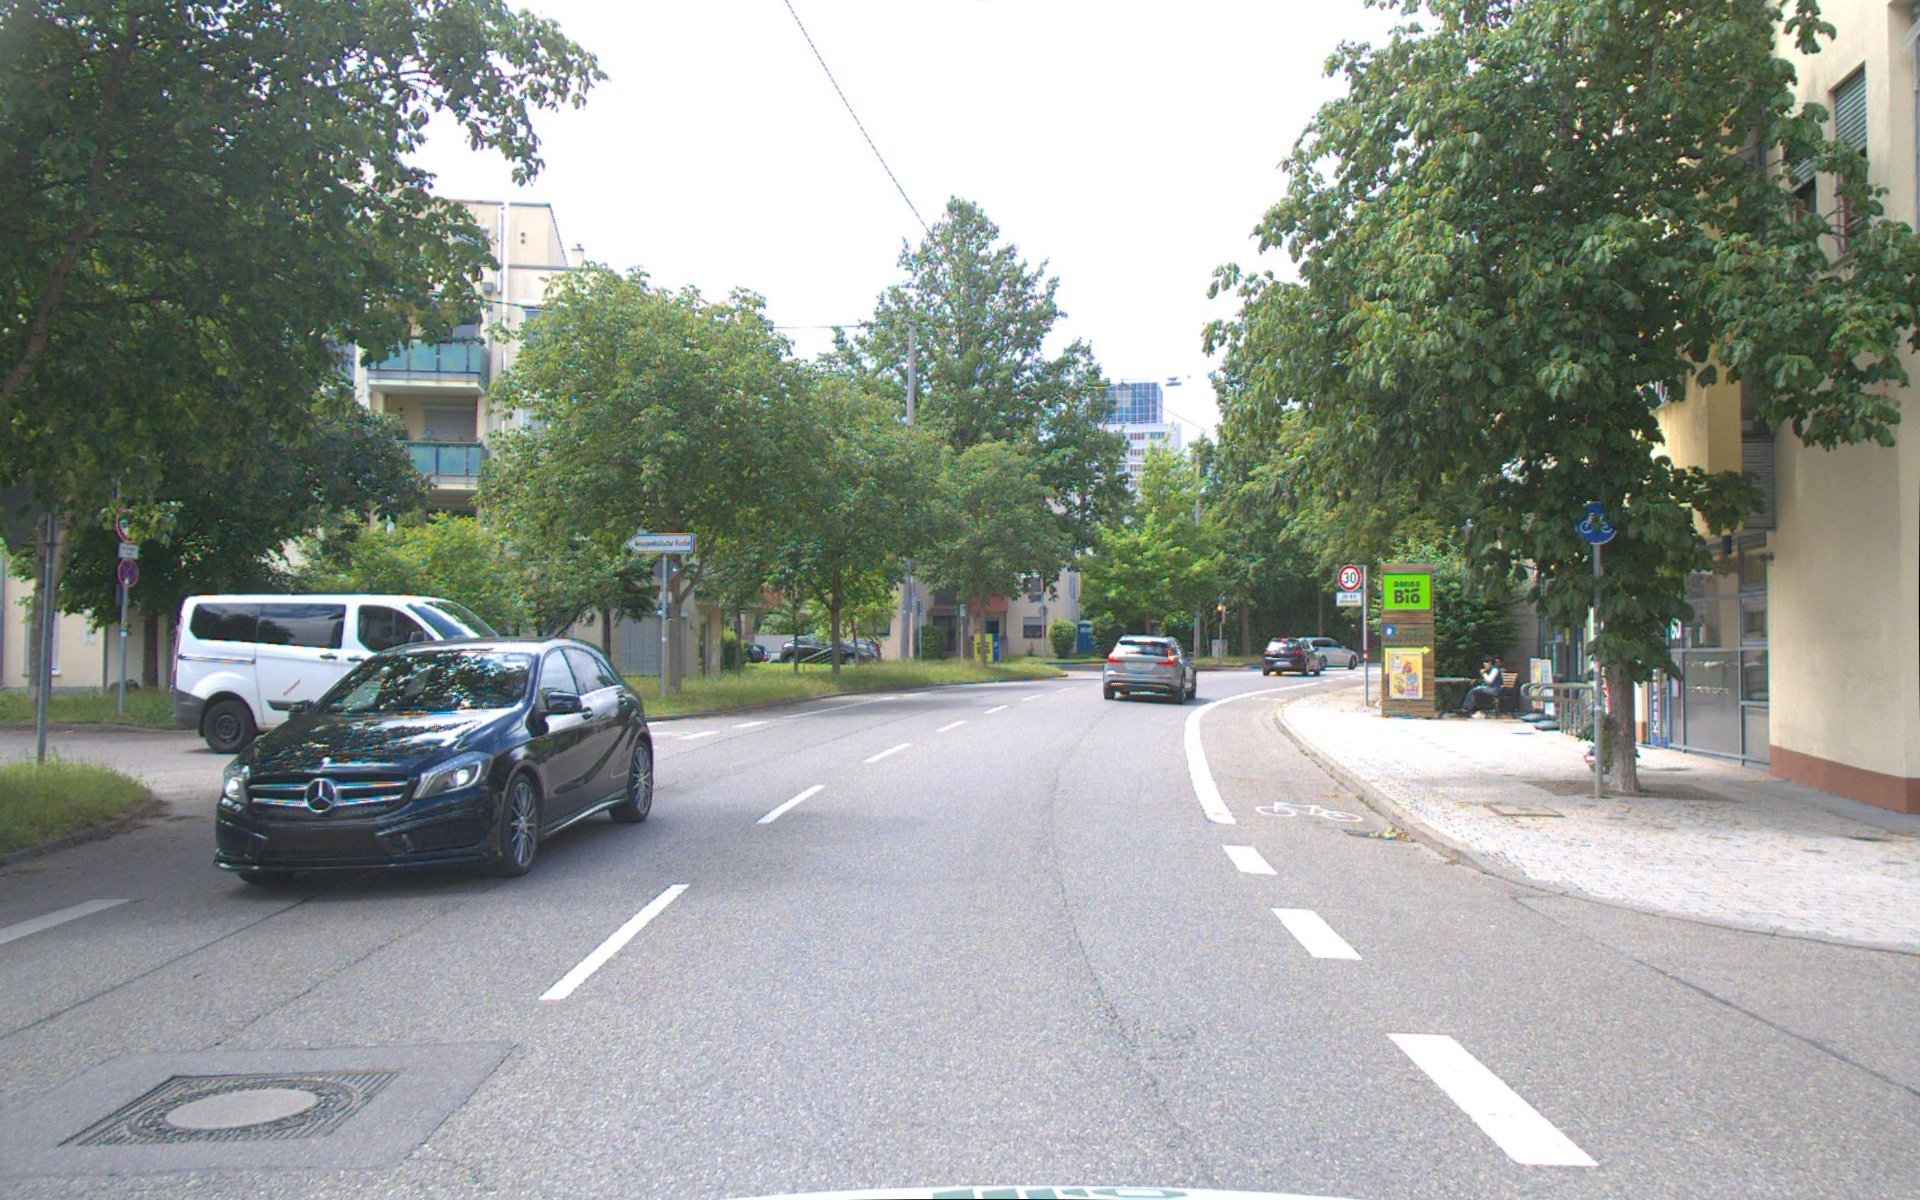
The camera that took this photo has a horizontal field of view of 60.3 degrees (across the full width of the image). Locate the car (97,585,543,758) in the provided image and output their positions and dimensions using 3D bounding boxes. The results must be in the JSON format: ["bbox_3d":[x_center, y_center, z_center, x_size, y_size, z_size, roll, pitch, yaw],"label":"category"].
[{"bbox_3d":[-8.379,0.937,21.861,5.101,2.028,2.110,-2,-1,10],"label":"car"}]

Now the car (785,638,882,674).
[{"bbox_3d":[-5.615,2.483,73.616,3.990,1.424,1.796,1,-5,9],"label":"car"}]

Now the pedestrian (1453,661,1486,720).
[{"bbox_3d":[10.484,1.863,34.046,0.510,1.202,0.501,1,-3,-1],"label":"pedestrian"}]

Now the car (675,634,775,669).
[{"bbox_3d":[-10.609,2.346,74.708,4.086,1.550,1.902,-1,-2,9],"label":"car"}]

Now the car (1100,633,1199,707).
[{"bbox_3d":[4.541,1.600,39.132,1.914,1.550,4.332,2,0,11],"label":"car"}]

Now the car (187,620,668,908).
[{"bbox_3d":[-3.333,0.971,11.277,1.652,1.508,4.228,-3,-2,3],"label":"car"}]

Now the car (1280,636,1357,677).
[{"bbox_3d":[16.476,2.607,75.853,1.775,1.644,4.310,2,-2,37],"label":"car"}]

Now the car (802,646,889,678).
[{"bbox_3d":[-5.686,3.099,82.620,3.990,1.424,1.796,1,-5,9],"label":"car"}]

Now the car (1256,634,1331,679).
[{"bbox_3d":[12.896,2.168,63.809,1.769,1.550,4.324,3,0,26],"label":"car"}]

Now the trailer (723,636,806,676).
[{"bbox_3d":[-9.836,2.840,83.317,3.823,1.830,1.631,1,-5,7],"label":"trailer"}]

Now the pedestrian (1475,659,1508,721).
[{"bbox_3d":[10.668,1.805,33.194,0.564,1.225,0.503,1,-3,10],"label":"pedestrian"}]

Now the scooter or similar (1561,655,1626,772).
[{"bbox_3d":[7.588,1.339,19.836,0.373,1.339,1.460,1,-2,7],"label":"scooter or similar"}]
